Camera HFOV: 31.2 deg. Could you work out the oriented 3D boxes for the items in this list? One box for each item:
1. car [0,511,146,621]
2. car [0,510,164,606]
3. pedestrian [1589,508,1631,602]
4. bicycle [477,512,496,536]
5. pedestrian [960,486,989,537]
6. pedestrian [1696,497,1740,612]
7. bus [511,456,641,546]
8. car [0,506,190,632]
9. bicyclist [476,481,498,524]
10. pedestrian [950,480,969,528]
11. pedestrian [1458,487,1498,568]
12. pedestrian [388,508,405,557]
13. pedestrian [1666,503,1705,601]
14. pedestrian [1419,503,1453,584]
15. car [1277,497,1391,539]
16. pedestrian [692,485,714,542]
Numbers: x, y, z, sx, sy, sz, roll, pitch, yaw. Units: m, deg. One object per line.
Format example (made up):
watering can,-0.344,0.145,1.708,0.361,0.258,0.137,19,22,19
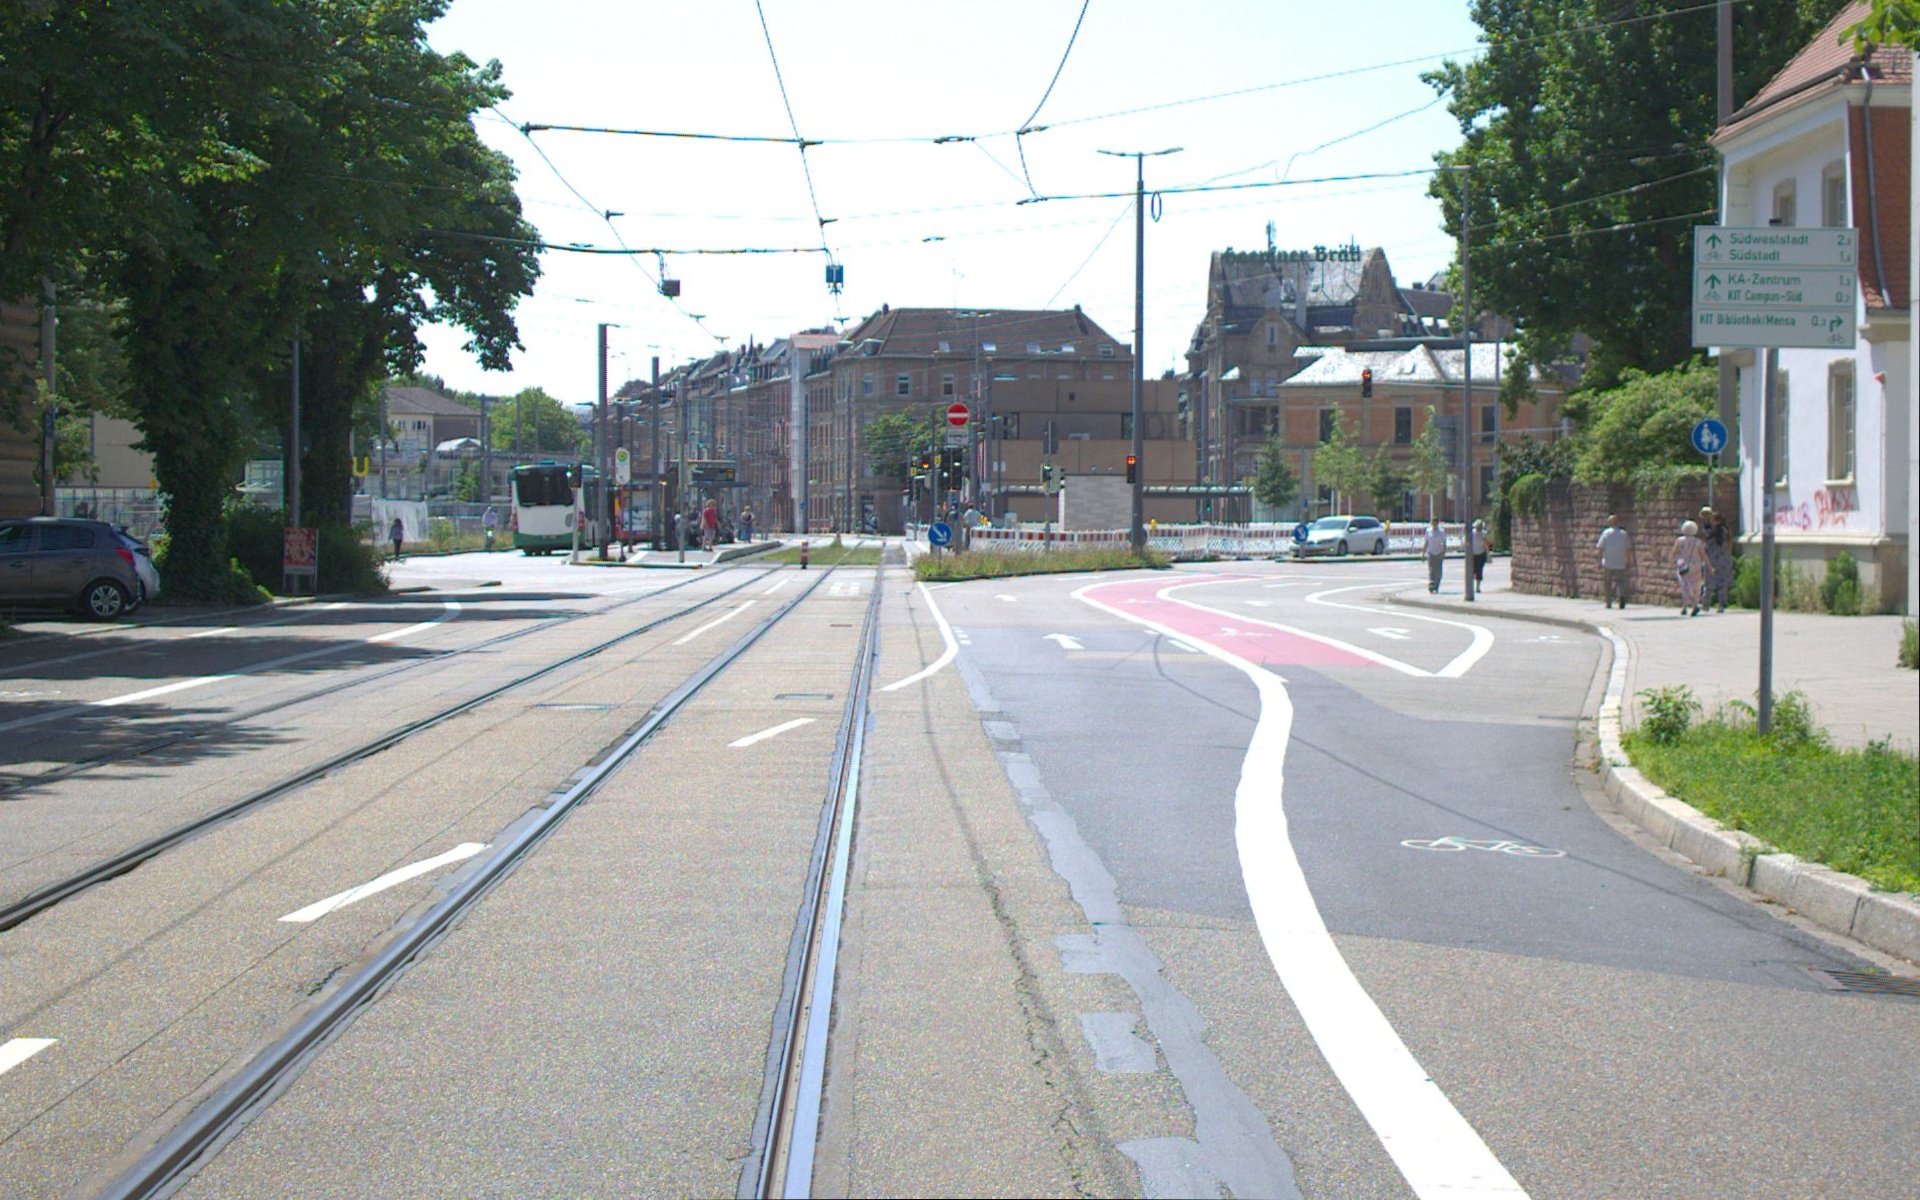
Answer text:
car,-13.618,-0.497,48.838,3.664,1.514,1.670,1,1,-29
car,-13.995,-0.647,51.861,3.537,1.401,1.702,0,2,-29
pedestrian,11.438,-0.800,60.538,0.661,1.641,0.624,0,2,4
bicycle,-18.904,-3.033,137.238,0.503,0.911,2.371,0,2,-2
pedestrian,0.541,-3.249,126.374,0.765,1.858,0.730,0,1,-42
pedestrian,12.101,-0.730,54.909,0.627,1.767,0.718,-2,4,11
bus,-14.202,-3.710,128.601,3.010,3.147,17.500,0,2,0
car,-10.962,-0.360,39.312,3.920,1.369,1.670,-1,2,-26
bicyclist,-18.873,-3.903,137.231,0.820,1.703,0.771,0,2,-2
pedestrian,-0.017,-3.326,119.328,0.526,1.669,0.752,0,1,-8
pedestrian,11.523,-1.612,76.492,0.814,1.801,0.700,0,2,3
pedestrian,-19.318,-2.315,117.882,0.566,1.699,0.397,0,2,-8
pedestrian,11.461,-0.764,54.297,0.515,1.527,0.597,0,2,4
pedestrian,10.613,-1.263,76.682,0.677,1.801,0.748,0,2,3
car,12.782,-2.800,117.347,1.997,1.433,4.697,1,2,33
pedestrian,-8.718,-2.938,116.703,0.672,1.903,0.641,0,2,-10
